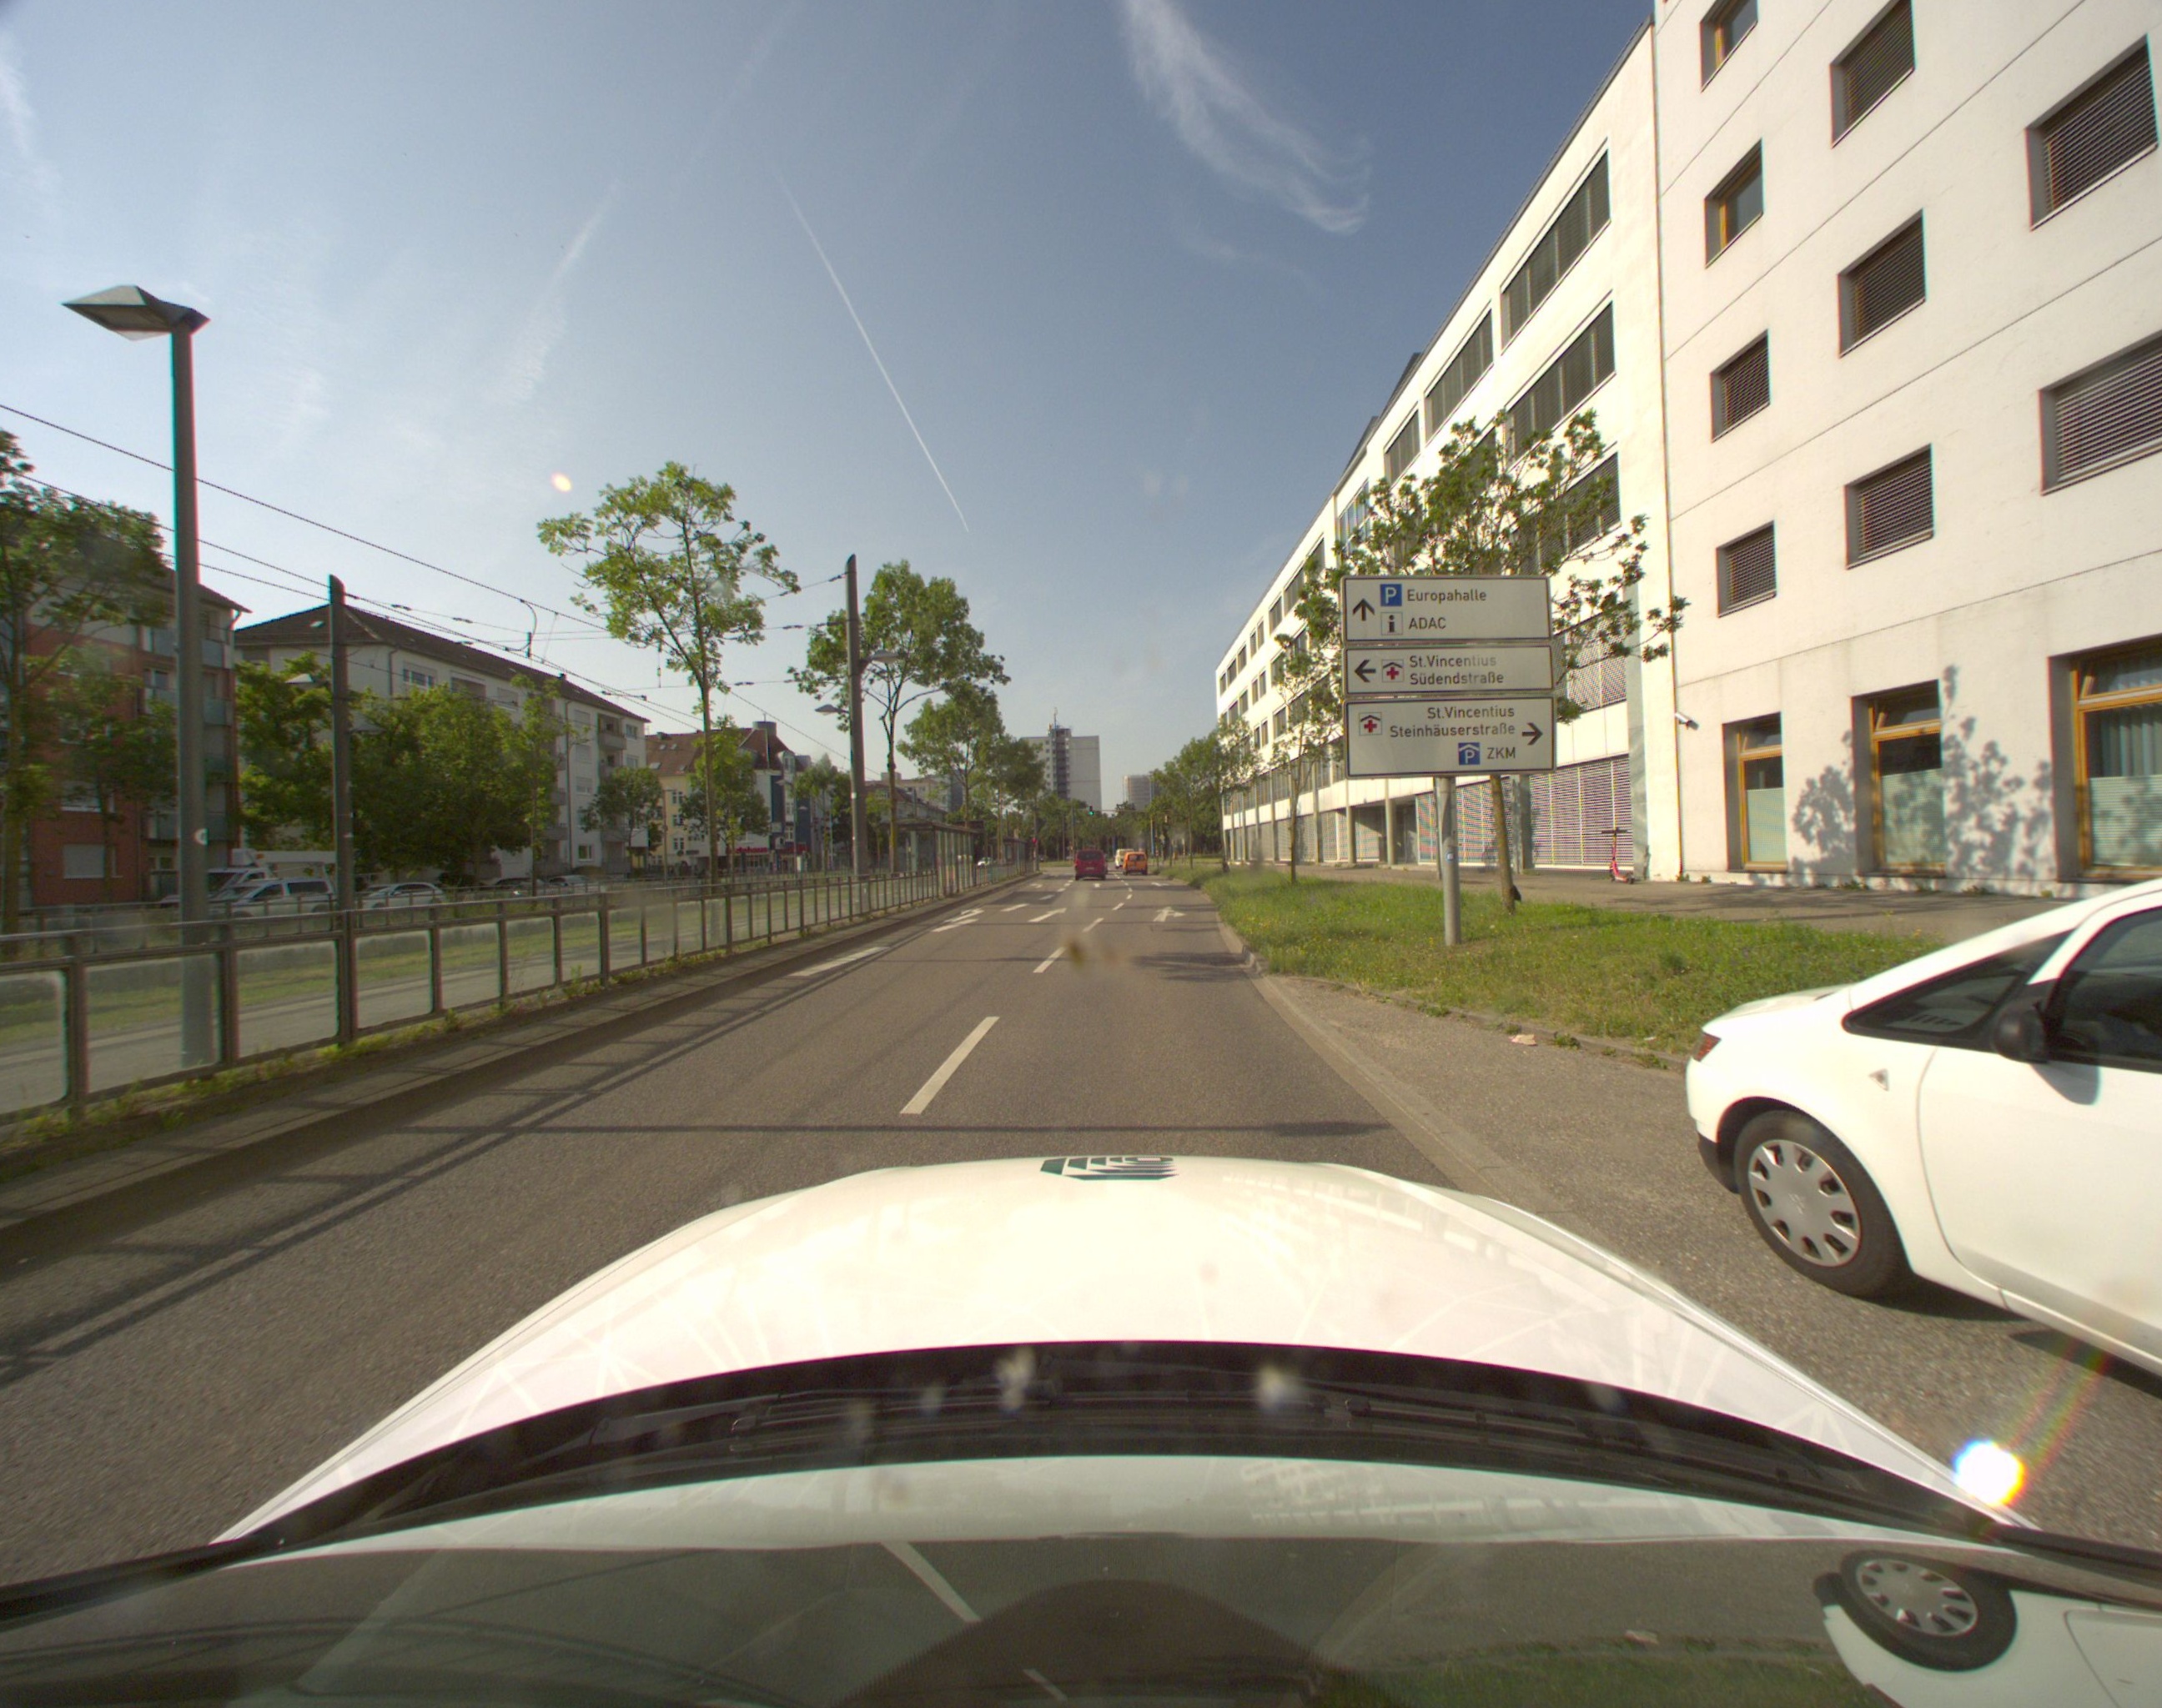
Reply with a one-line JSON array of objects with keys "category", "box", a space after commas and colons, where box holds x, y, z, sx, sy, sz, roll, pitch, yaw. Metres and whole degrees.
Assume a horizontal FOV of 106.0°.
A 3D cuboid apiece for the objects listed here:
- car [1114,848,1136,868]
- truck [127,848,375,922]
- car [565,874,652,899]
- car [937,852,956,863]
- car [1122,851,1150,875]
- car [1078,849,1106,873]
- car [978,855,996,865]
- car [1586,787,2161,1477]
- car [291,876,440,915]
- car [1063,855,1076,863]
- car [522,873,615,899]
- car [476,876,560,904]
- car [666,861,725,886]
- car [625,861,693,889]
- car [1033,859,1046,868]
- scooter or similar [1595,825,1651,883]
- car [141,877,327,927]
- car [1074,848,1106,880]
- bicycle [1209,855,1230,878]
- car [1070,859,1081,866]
[{"category": "car", "box": [4.433, 0.432, 82.476, 1.987, 2.014, 4.000, 0, 0, 1]}, {"category": "truck", "box": [-32.295, 1.108, 32.235, 2.358, 2.563, 7.240, 0, 0, 0]}, {"category": "car", "box": [-26.271, 1.802, 45.345, 3.957, 1.244, 1.948, -2, 0, 16]}, {"category": "car", "box": [-19.247, 0.507, 116.743, 1.986, 1.596, 4.001, 0, 0, 1]}, {"category": "car", "box": [4.044, 0.632, 60.463, 1.869, 1.696, 3.974, -2, 0, 1]}, {"category": "car", "box": [0.871, 0.535, 64.140, 1.987, 1.706, 4.000, -3, 0, 1]}, {"category": "car", "box": [-14.326, 0.929, 124.425, 1.984, 1.596, 4.054, 0, 0, 4]}, {"category": "car", "box": [3.206, 0.572, 1.805, 1.684, 1.526, 3.849, -4, 0, 0]}, {"category": "car", "box": [-29.207, 1.639, 33.479, 1.974, 1.379, 4.683, 0, 0, 0]}, {"category": "car", "box": [-2.720, 1.174, 189.637, 1.861, 1.574, 4.239, -3, 0, 15]}, {"category": "car", "box": [-26.923, 1.666, 42.796, 3.957, 1.244, 1.948, -2, 0, 16]}, {"category": "car", "box": [-27.192, 1.742, 39.331, 3.948, 1.244, 1.844, -2, 0, 31]}, {"category": "car", "box": [-31.980, 1.592, 67.705, 2.358, 2.030, 5.310, 0, 0, 0]}, {"category": "car", "box": [-31.907, 1.550, 61.780, 2.358, 2.030, 5.310, 0, 0, 0]}, {"category": "car", "box": [-8.148, 1.838, 160.734, 1.865, 1.574, 4.008, -2, 0, 7]}, {"category": "scooter or similar", "box": [12.024, 0.002, 18.104, 0.460, 1.213, 1.257, -3, 0, 7]}, {"category": "car", "box": [-29.192, 1.602, 28.306, 1.974, 1.513, 4.280, 0, 0, 0]}, {"category": "car", "box": [0.538, 0.593, 50.328, 1.869, 1.853, 3.999, -2, 0, 0]}, {"category": "bicycle", "box": [6.296, 0.571, 37.166, 0.616, 1.017, 1.879, -2, 0, 0]}, {"category": "car", "box": [-1.293, 1.911, 183.600, 1.865, 1.574, 4.008, 0, 0, 7]}]
